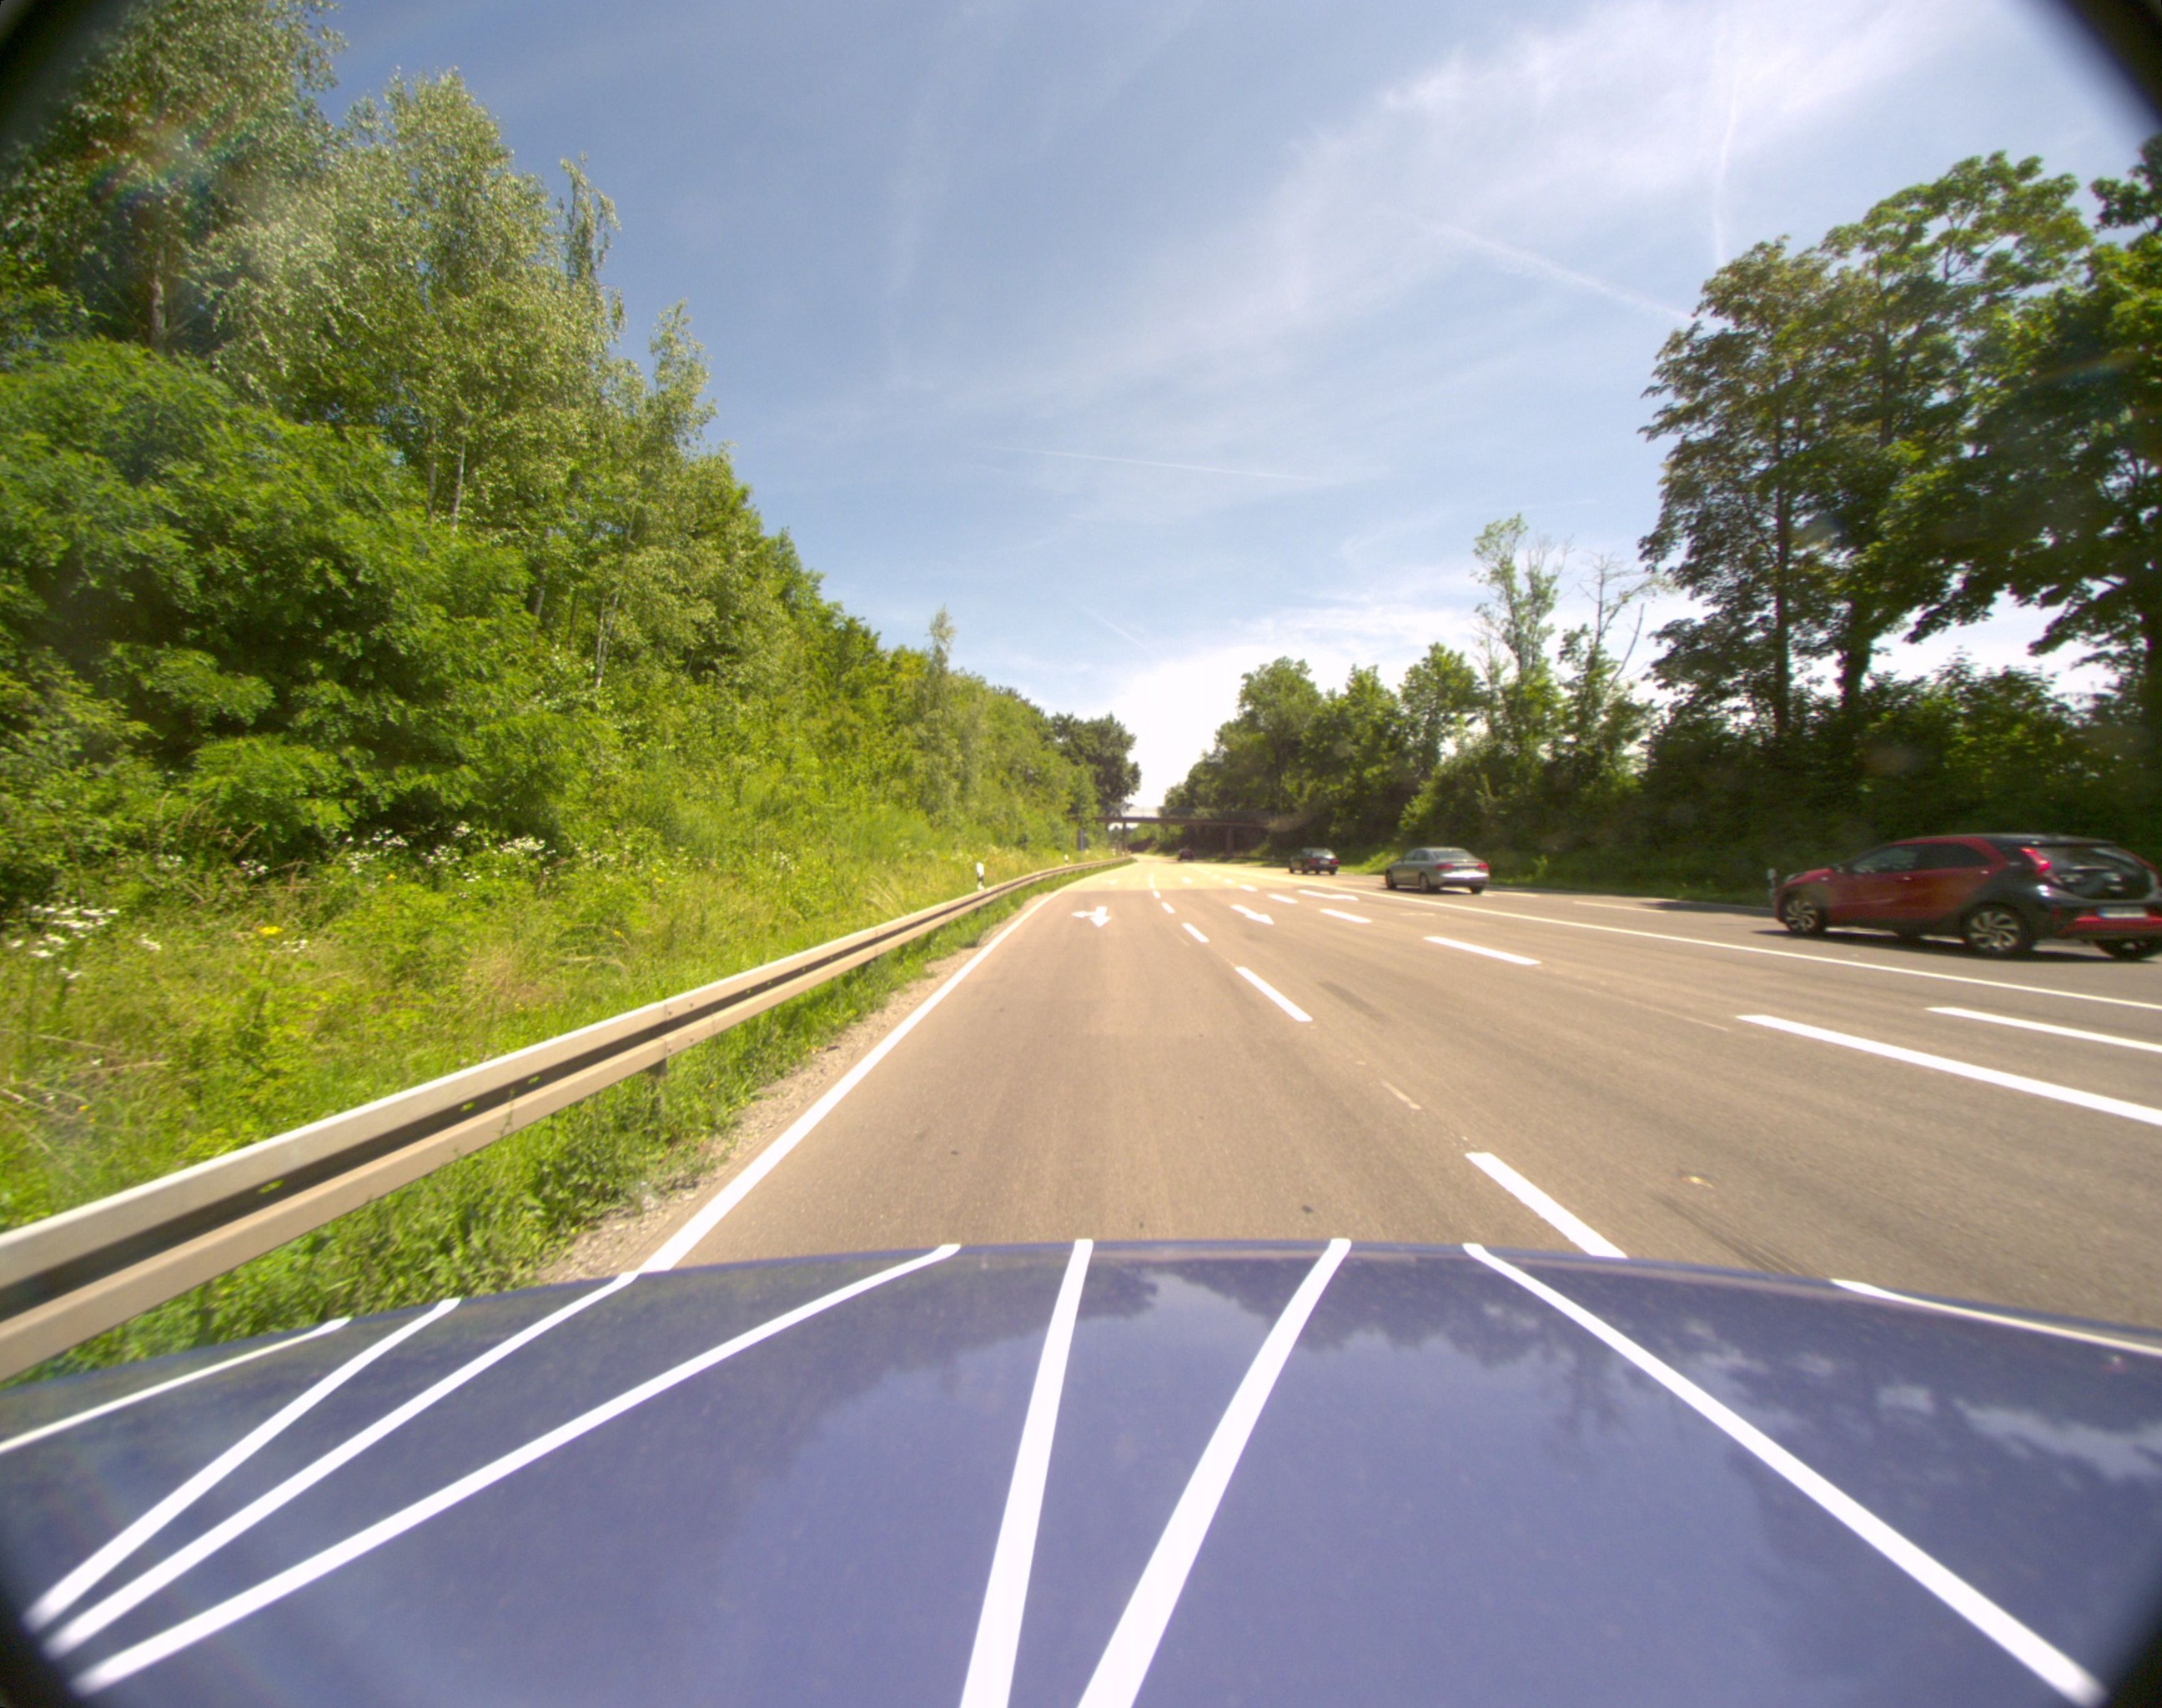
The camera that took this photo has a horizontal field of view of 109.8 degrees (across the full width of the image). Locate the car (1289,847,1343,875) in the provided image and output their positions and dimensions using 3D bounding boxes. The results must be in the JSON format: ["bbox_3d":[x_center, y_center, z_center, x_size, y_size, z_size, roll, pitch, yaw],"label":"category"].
[{"bbox_3d":[12.975,0.359,42.147,1.771,1.378,3.999,-2,1,1],"label":"car"}]

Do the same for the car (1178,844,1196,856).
[{"bbox_3d":[13.760,-0.525,98.767,1.908,1.500,3.764,-1,1,1],"label":"car"}]

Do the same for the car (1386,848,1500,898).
[{"bbox_3d":[11.435,0.533,24.325,1.771,1.378,3.999,-2,1,1],"label":"car"}]

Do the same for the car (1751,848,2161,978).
[{"bbox_3d":[11.743,0.642,10.408,1.645,1.430,4.016,-1,0,1],"label":"car"}]
